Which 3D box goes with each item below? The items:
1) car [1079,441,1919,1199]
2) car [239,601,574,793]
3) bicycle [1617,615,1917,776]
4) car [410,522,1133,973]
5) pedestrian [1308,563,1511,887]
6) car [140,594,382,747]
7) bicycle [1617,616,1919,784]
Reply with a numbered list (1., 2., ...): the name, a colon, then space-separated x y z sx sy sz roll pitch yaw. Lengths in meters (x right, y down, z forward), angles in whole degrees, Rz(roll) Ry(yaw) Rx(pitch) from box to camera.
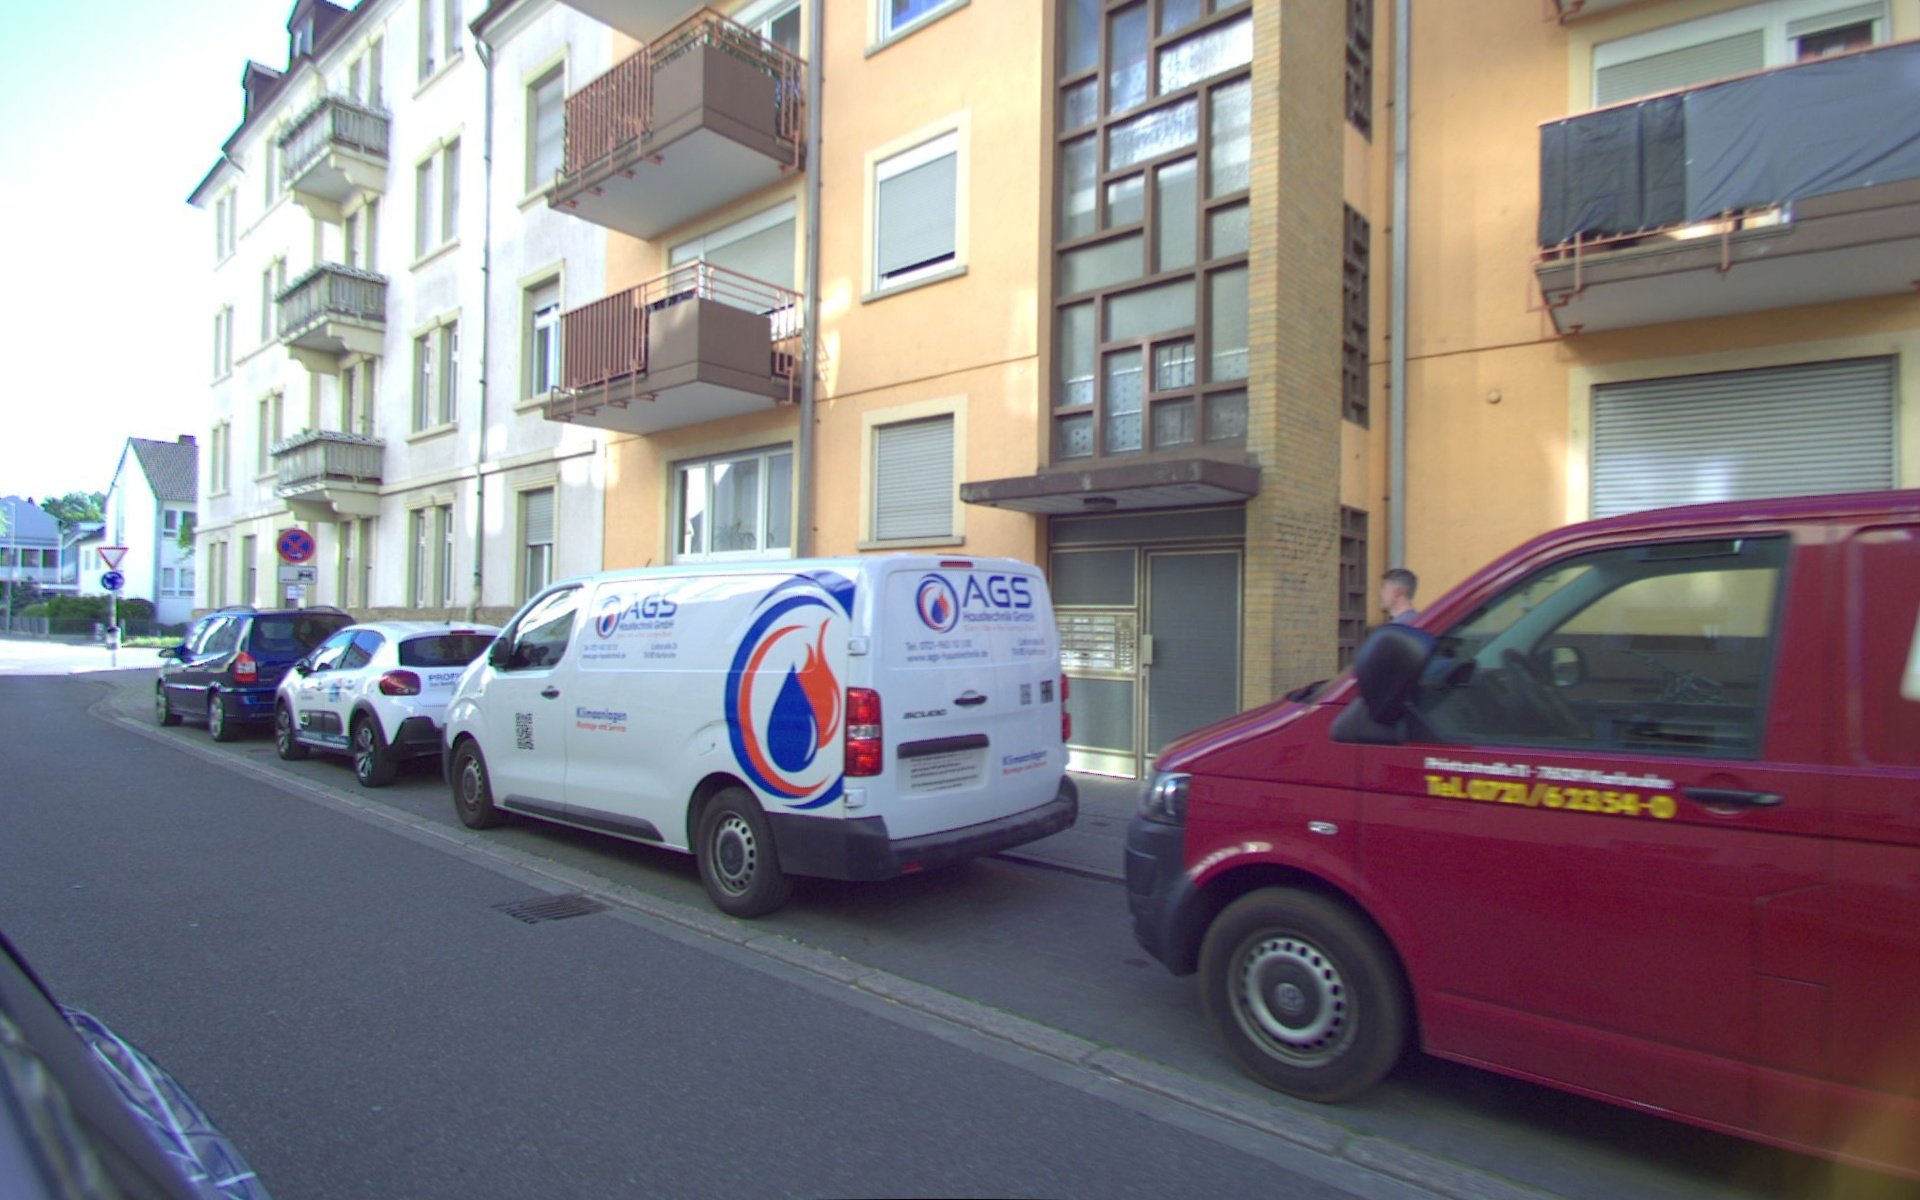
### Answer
1. car: 2.863 0.615 2.767 4.932 1.940 1.744 0 0 41
2. car: -5.972 0.838 10.687 4.293 1.633 1.744 0 0 41
3. bicycle: 6.105 0.681 7.772 1.759 1.122 0.338 0 -1 36
4. car: -1.637 0.646 6.844 5.306 1.940 1.955 0 0 41
5. pedestrian: 2.849 0.708 6.404 0.993 1.831 0.915 0 0 38
6. car: -9.686 0.830 13.891 4.292 1.784 1.744 0 0 41
7. bicycle: 5.893 0.682 7.452 1.759 1.122 0.338 0 -1 36
